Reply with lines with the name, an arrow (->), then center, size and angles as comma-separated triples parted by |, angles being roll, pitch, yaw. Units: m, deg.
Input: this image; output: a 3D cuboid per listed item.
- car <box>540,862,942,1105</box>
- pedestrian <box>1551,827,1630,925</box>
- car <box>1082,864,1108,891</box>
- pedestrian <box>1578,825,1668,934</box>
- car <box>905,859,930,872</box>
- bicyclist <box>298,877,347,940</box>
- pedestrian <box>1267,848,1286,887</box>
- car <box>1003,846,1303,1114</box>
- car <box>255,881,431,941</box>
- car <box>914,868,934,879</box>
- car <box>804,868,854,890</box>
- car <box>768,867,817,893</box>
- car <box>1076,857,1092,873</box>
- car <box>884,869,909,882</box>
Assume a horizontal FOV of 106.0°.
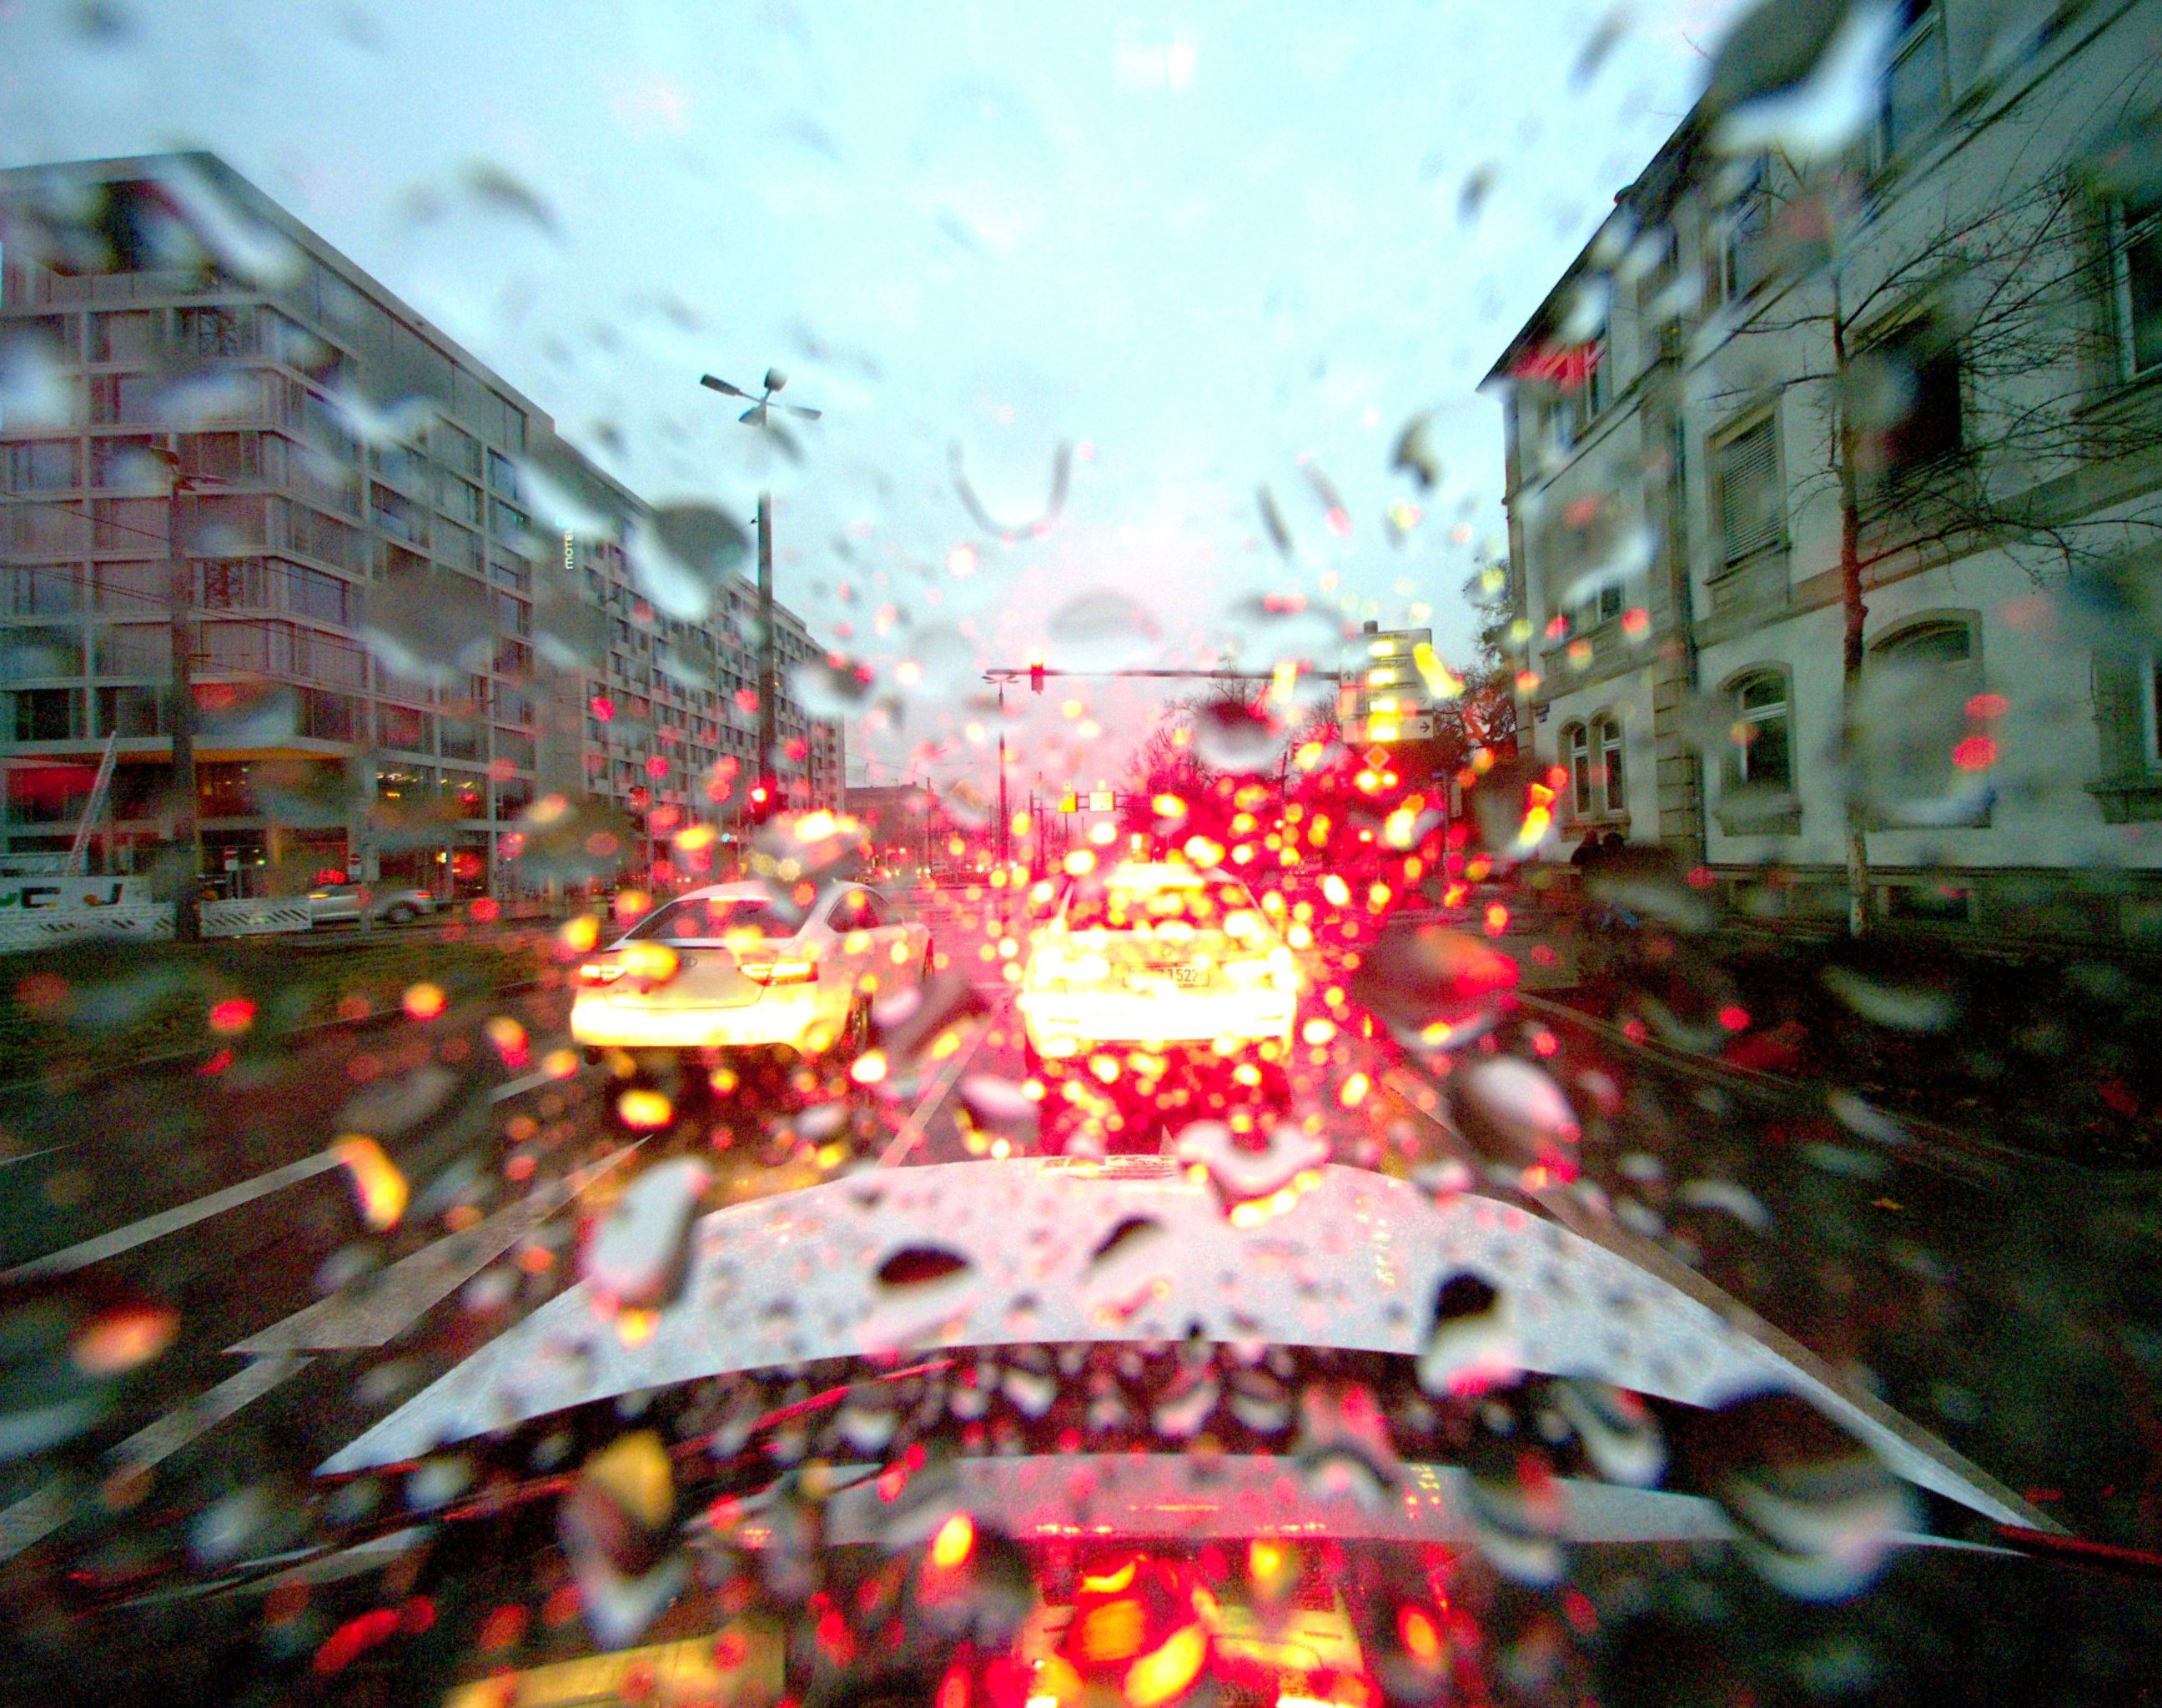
car -> -2.457, 0.819, 7.158 | 1.754, 1.470, 4.250 | 0, -1, 0
pedestrian -> 8.839, 0.378, 14.162 | 0.778, 1.632, 1.012 | 0, -1, 5
car -> 1.151, 1.778, 63.839 | 1.986, 2.014, 4.001 | 0, -1, 2
pedestrian -> 8.190, 0.371, 12.359 | 0.777, 1.579, 1.014 | -1, -1, 10
car -> -18.590, 1.329, 92.709 | 1.988, 1.462, 5.090 | 0, 0, -2
bicyclist -> -35.050, 2.477, 37.674 | 1.355, 2.828, 1.183 | 0, -1, -26
pedestrian -> 9.565, 0.676, 39.783 | 0.672, 1.879, 0.713 | 0, -1, -8
car -> 0.419, 0.754, 6.918 | 1.754, 1.552, 4.250 | 0, -1, 0
car -> -23.778, 1.761, 26.386 | 4.107, 1.687, 1.935 | 0, -1, -44
car -> -22.677, 2.813, 117.676 | 1.987, 1.462, 5.094 | 0, 0, 0
car -> -18.678, 1.841, 60.644 | 1.986, 1.462, 5.097 | 0, 0, 2
car -> -21.832, 1.943, 61.881 | 1.873, 1.789, 4.602 | 0, -1, 3
car -> 0.422, 1.443, 104.017 | 1.986, 2.014, 4.001 | 0, -1, 2
car -> -23.210, 2.695, 102.863 | 1.987, 1.462, 5.094 | 0, 0, 0
